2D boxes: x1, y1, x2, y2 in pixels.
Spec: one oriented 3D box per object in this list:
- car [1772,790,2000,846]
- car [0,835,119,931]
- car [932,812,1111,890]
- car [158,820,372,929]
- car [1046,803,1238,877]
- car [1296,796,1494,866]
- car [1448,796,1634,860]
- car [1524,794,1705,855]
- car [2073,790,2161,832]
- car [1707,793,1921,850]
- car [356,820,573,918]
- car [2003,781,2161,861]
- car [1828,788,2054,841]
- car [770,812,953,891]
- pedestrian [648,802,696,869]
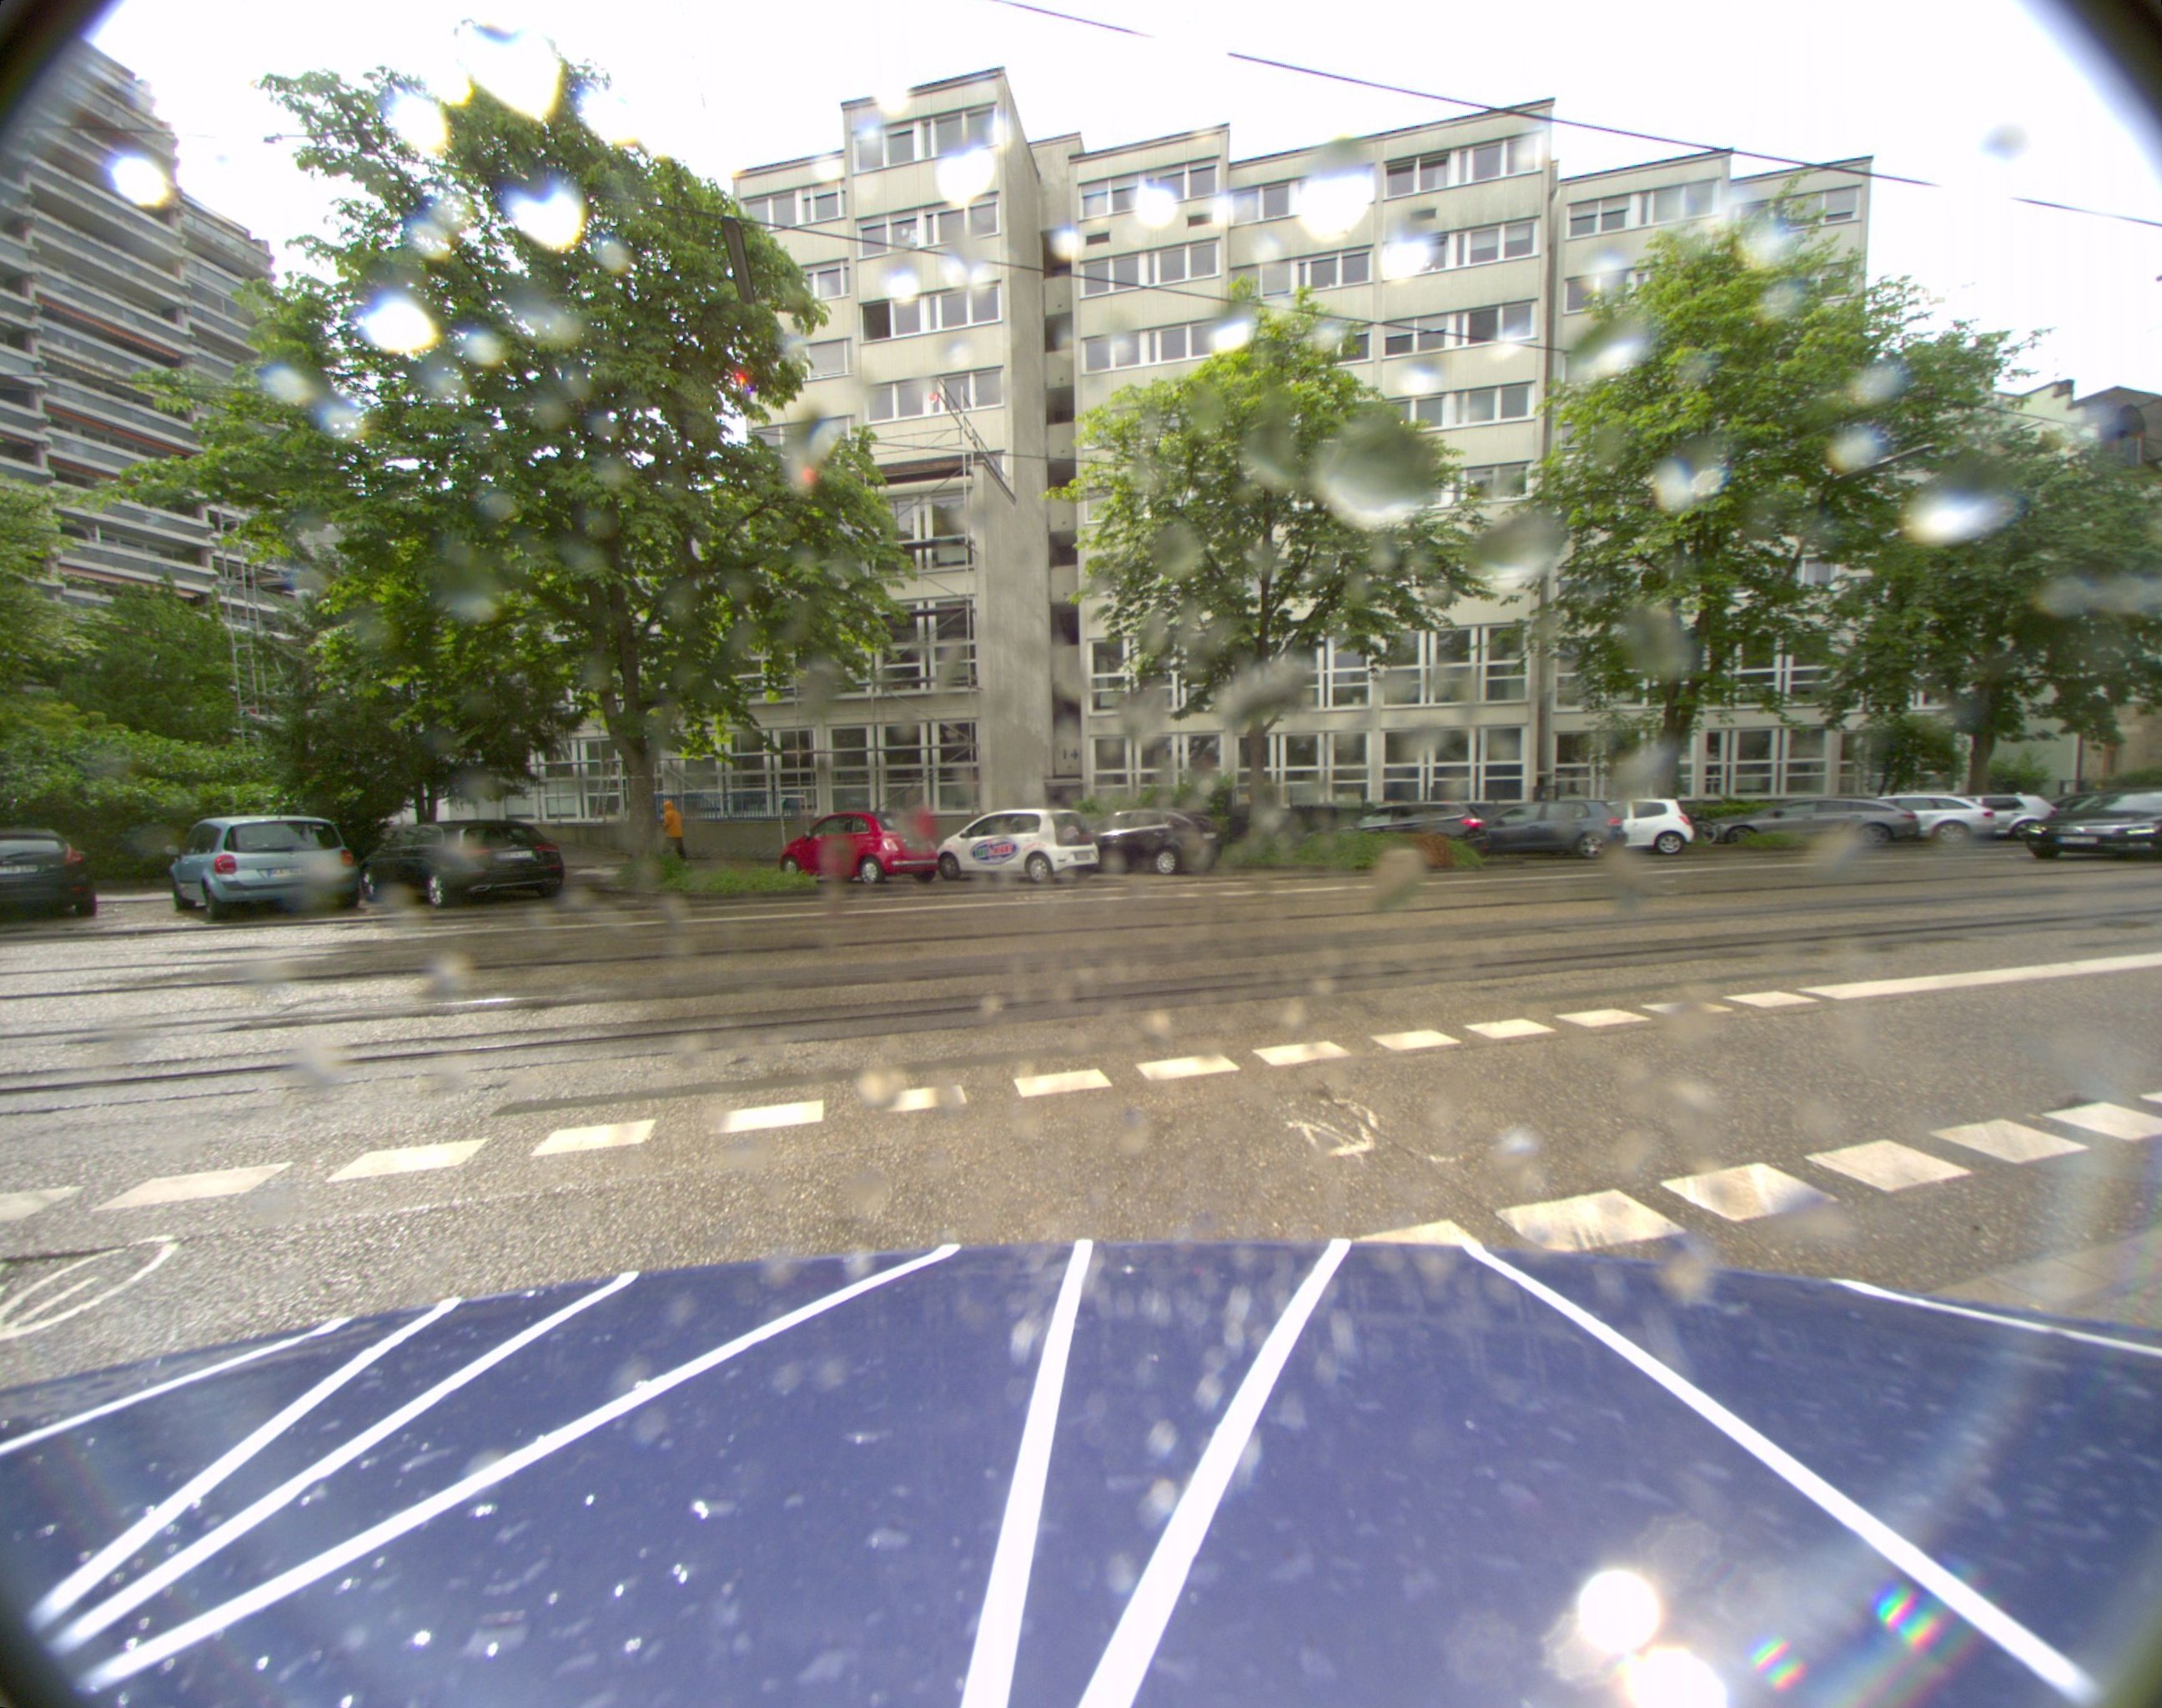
[{"bbox_3d":[24.051,-1.070,22.985,4.383,1.445,1.888,-1,3,32],"label":"car"},{"bbox_3d":[-17.607,0.423,12.362,3.639,1.390,1.772,1,4,29],"label":"car"},{"bbox_3d":[-1.270,-0.121,16.014,3.397,1.444,1.713,2,5,34],"label":"car"},{"bbox_3d":[-13.791,0.244,12.816,3.639,1.543,1.711,1,5,32],"label":"car"},{"bbox_3d":[1.331,-0.336,17.247,3.967,1.473,1.819,0,4,38],"label":"car"},{"bbox_3d":[7.847,-0.537,19.046,4.359,1.546,1.881,-1,2,30],"label":"car"},{"bbox_3d":[11.546,-0.636,19.274,3.871,1.446,1.825,-1,3,31],"label":"car"},{"bbox_3d":[14.276,-0.777,20.609,3.871,1.446,1.780,-1,3,31],"label":"car"},{"bbox_3d":[39.722,-1.618,27.407,4.428,1.445,1.909,-1,3,39],"label":"car"},{"bbox_3d":[21.139,-0.922,22.179,4.195,1.445,1.817,-1,3,32],"label":"car"},{"bbox_3d":[-10.898,0.179,13.402,3.639,1.462,1.744,1,5,31],"label":"car"},{"bbox_3d":[21.886,-0.734,15.601,4.766,1.473,1.997,-3,3,-16],"label":"car"},{"bbox_3d":[26.885,-1.212,24.026,4.360,1.445,1.909,-1,3,32],"label":"car"},{"bbox_3d":[-4.536,-0.101,15.666,3.398,1.461,1.745,1,3,31],"label":"car"},{"bbox_3d":[-10.849,-0.497,20.174,0.837,1.733,0.708,0,4,35],"label":"pedestrian"}]
